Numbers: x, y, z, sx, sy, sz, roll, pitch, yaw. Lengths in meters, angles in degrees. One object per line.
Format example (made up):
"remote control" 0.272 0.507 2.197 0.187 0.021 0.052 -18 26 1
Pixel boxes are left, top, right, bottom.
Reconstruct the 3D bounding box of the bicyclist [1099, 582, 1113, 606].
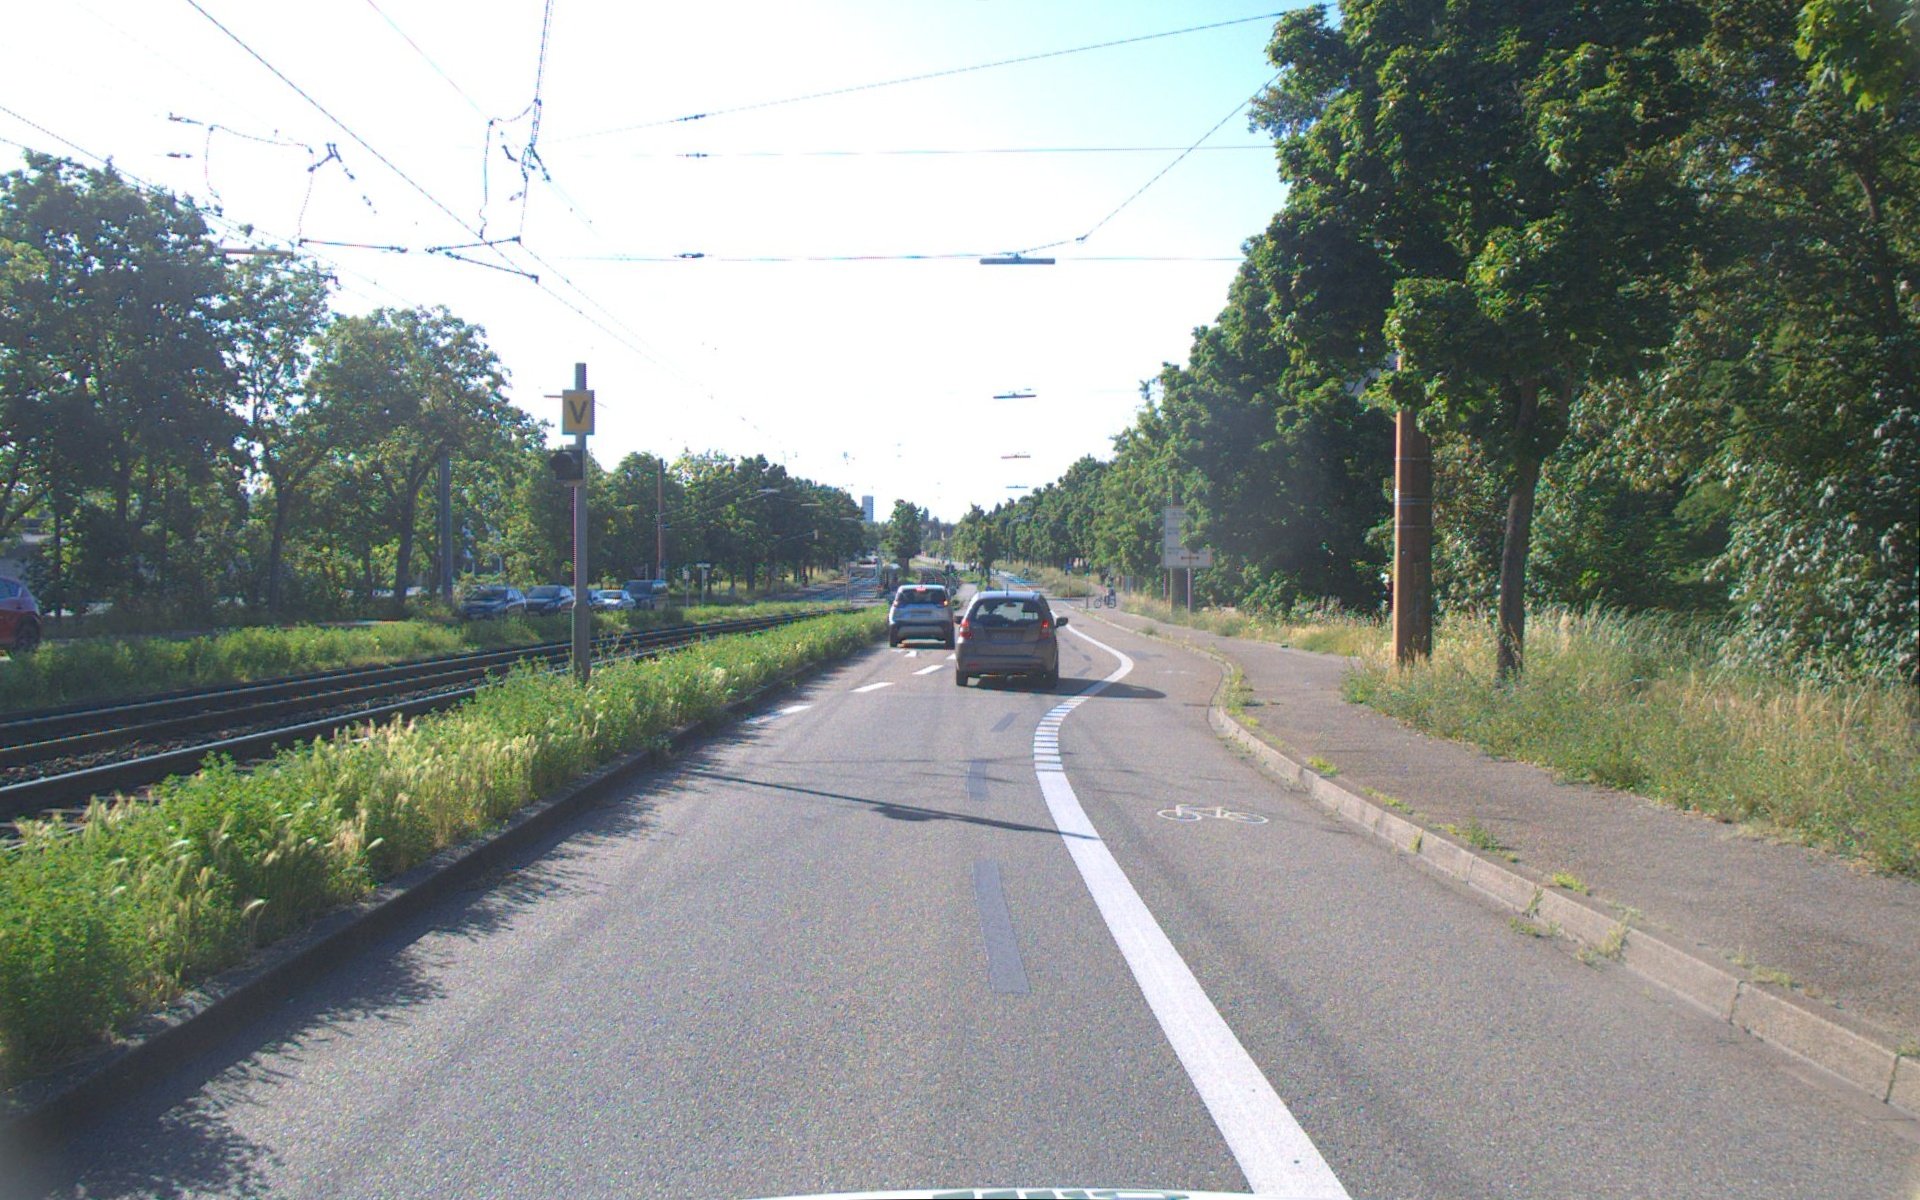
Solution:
"bicyclist" 10.797 -0.450 122.131 0.890 1.775 0.765 -1 0 13

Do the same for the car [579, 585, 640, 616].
"car" -17.428 -0.006 82.420 1.888 1.462 4.696 0 1 2

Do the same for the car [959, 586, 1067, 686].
"car" 0.868 0.545 27.967 1.671 1.535 4.001 1 1 1

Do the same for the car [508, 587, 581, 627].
"car" -17.657 0.260 70.468 1.952 1.602 4.435 0 1 1

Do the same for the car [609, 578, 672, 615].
"car" -17.111 -0.210 88.786 2.151 1.924 4.794 0 1 4

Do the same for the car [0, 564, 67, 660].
"car" -18.271 0.218 29.719 1.963 1.732 4.467 0 0 1

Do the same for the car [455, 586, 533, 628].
"car" -17.868 0.263 63.600 1.699 1.520 4.328 2 0 0

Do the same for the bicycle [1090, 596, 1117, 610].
"bicycle" 10.612 0.210 122.177 1.879 1.015 0.765 -2 0 13

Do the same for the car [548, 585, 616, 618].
"car" -17.408 0.045 76.337 1.952 1.462 4.416 0 1 2

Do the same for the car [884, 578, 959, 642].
"car" -0.998 0.239 44.490 1.812 1.634 4.255 0 1 1
